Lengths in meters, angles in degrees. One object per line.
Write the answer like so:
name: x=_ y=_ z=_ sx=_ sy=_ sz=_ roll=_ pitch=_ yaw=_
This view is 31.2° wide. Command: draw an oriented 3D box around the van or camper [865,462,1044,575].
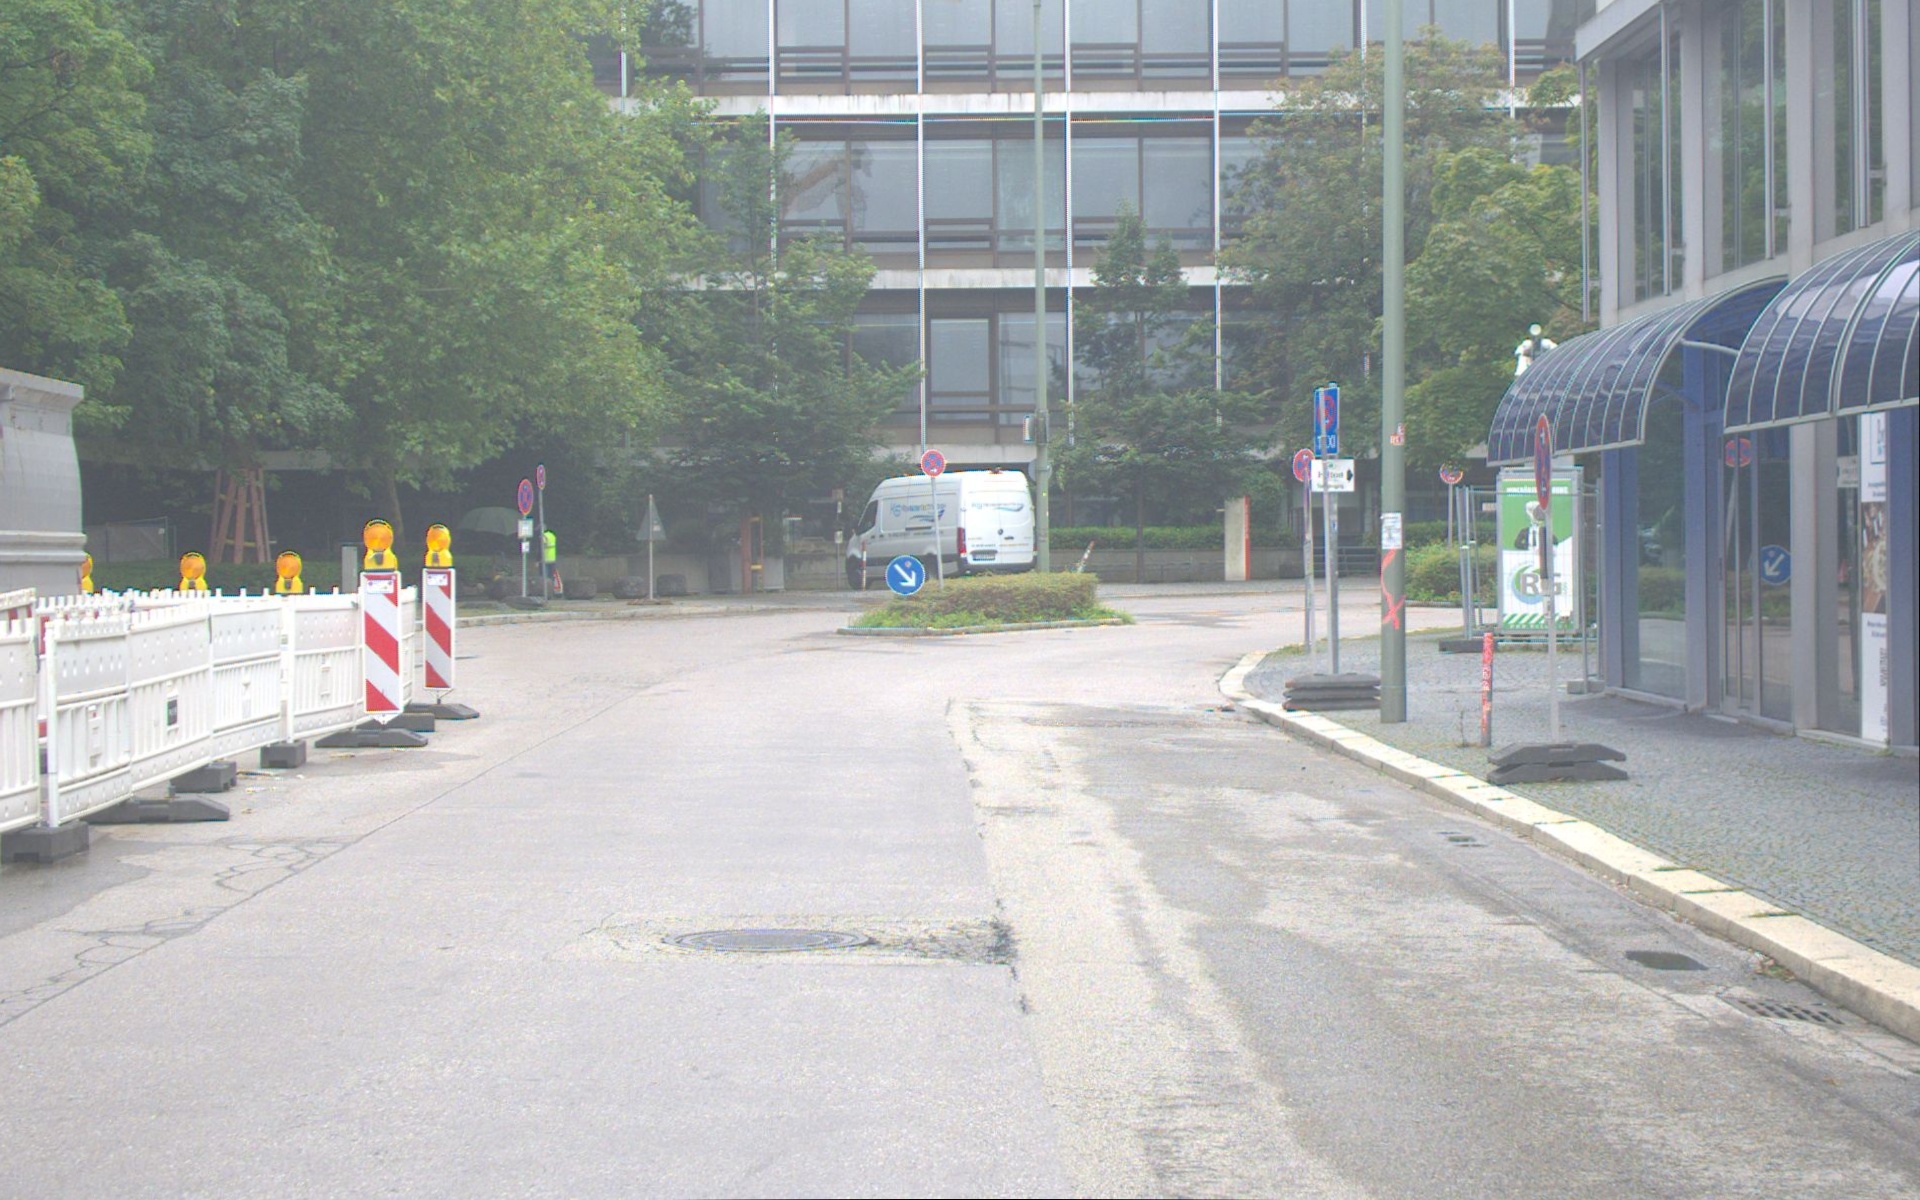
van or camper: x=-0.169 y=-1.853 z=78.576 sx=2.085 sy=2.483 sz=5.068 roll=-1 pitch=1 yaw=-26

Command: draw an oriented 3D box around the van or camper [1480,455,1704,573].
van or camper: x=14.096 y=-1.915 z=76.780 sx=4.449 sy=2.576 sz=2.109 roll=0 pitch=1 yaw=-11

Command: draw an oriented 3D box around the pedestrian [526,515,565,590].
pedestrian: x=-9.324 y=-1.076 z=77.284 sx=0.741 sy=1.671 sz=0.682 roll=0 pitch=1 yaw=-20
